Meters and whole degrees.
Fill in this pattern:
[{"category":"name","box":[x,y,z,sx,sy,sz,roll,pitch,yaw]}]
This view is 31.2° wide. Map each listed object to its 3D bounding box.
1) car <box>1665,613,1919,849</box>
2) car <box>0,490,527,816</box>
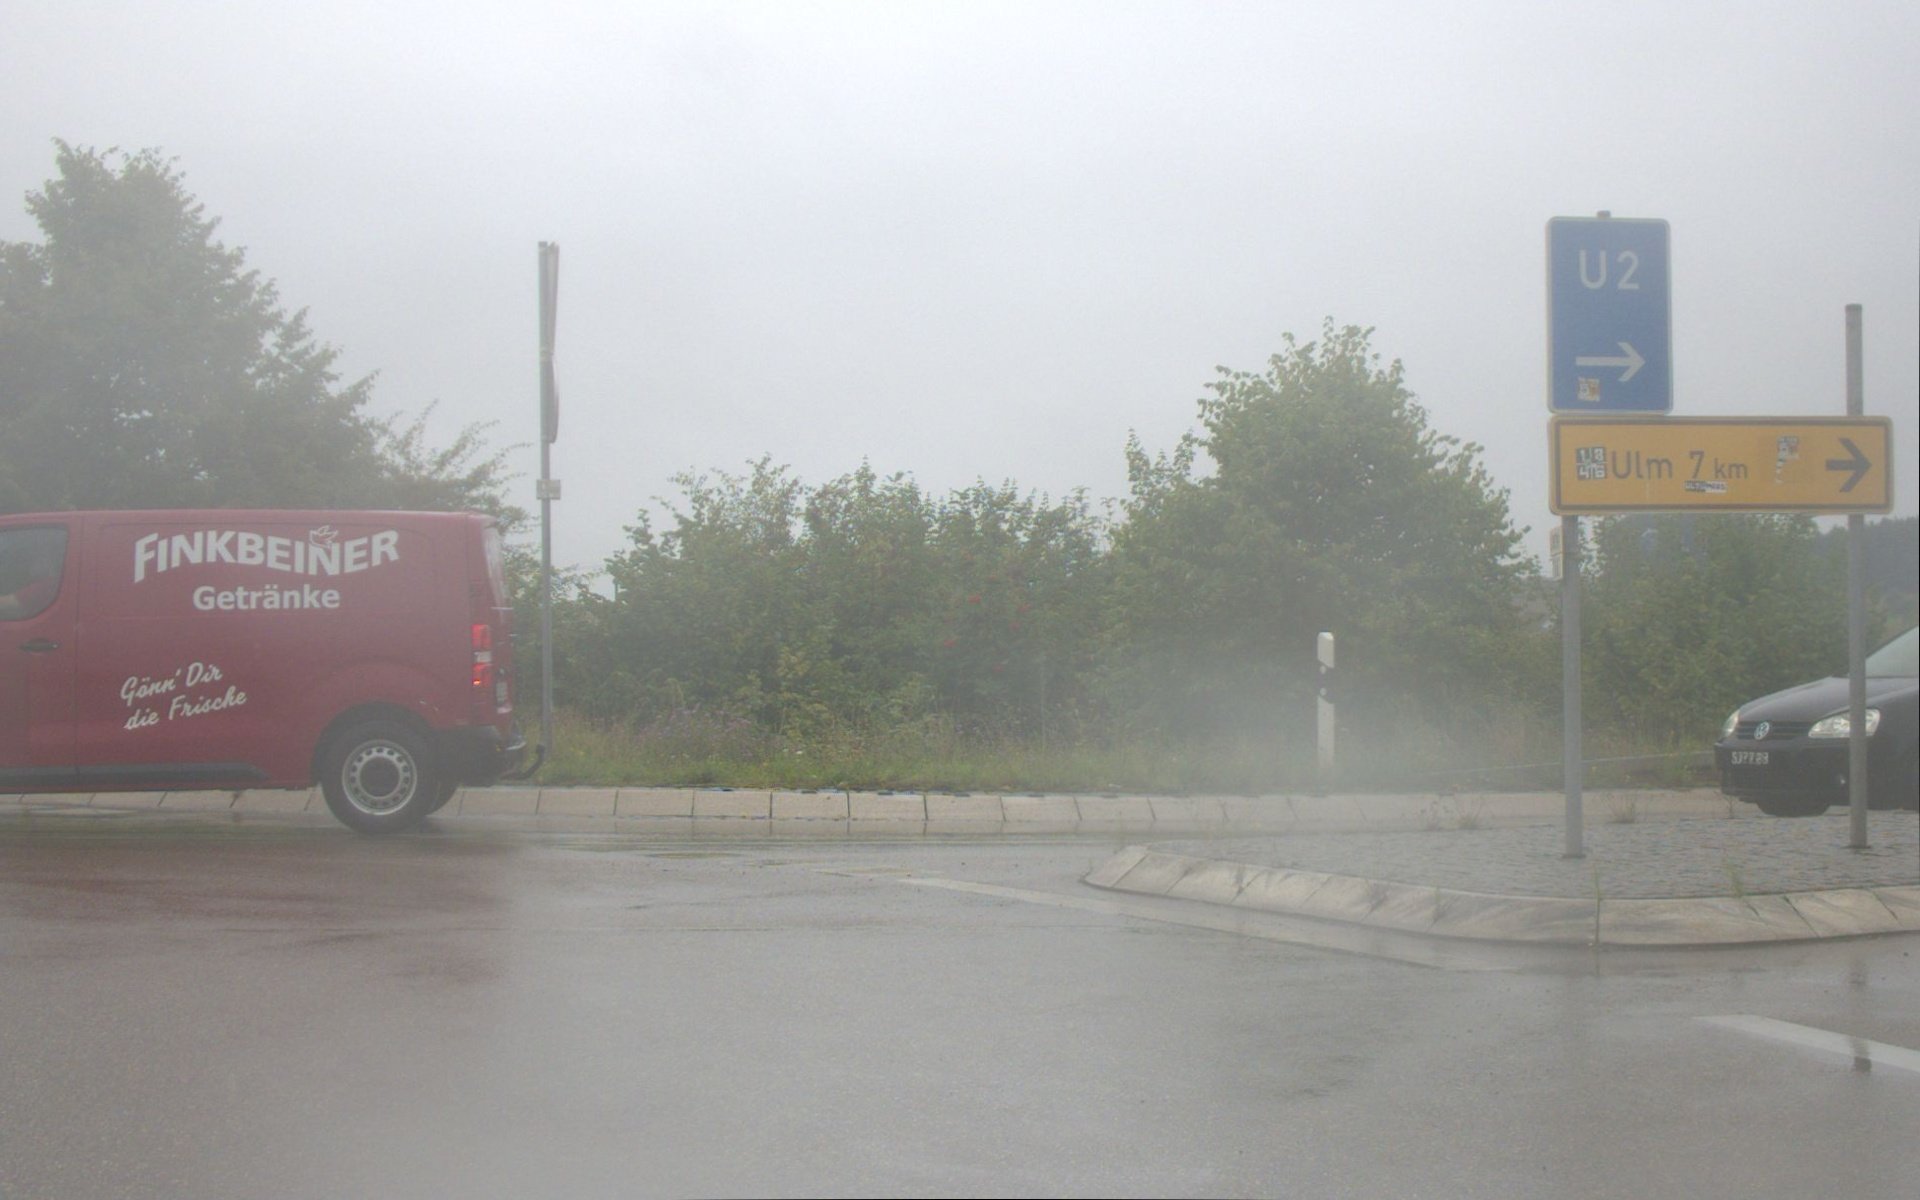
[{"category":"car","box":[7.093,0.841,22.654,4.487,1.416,1.875,1,0,-22]},{"category":"car","box":[-5.125,0.302,20.714,4.961,1.864,2.000,0,0,-7]}]
